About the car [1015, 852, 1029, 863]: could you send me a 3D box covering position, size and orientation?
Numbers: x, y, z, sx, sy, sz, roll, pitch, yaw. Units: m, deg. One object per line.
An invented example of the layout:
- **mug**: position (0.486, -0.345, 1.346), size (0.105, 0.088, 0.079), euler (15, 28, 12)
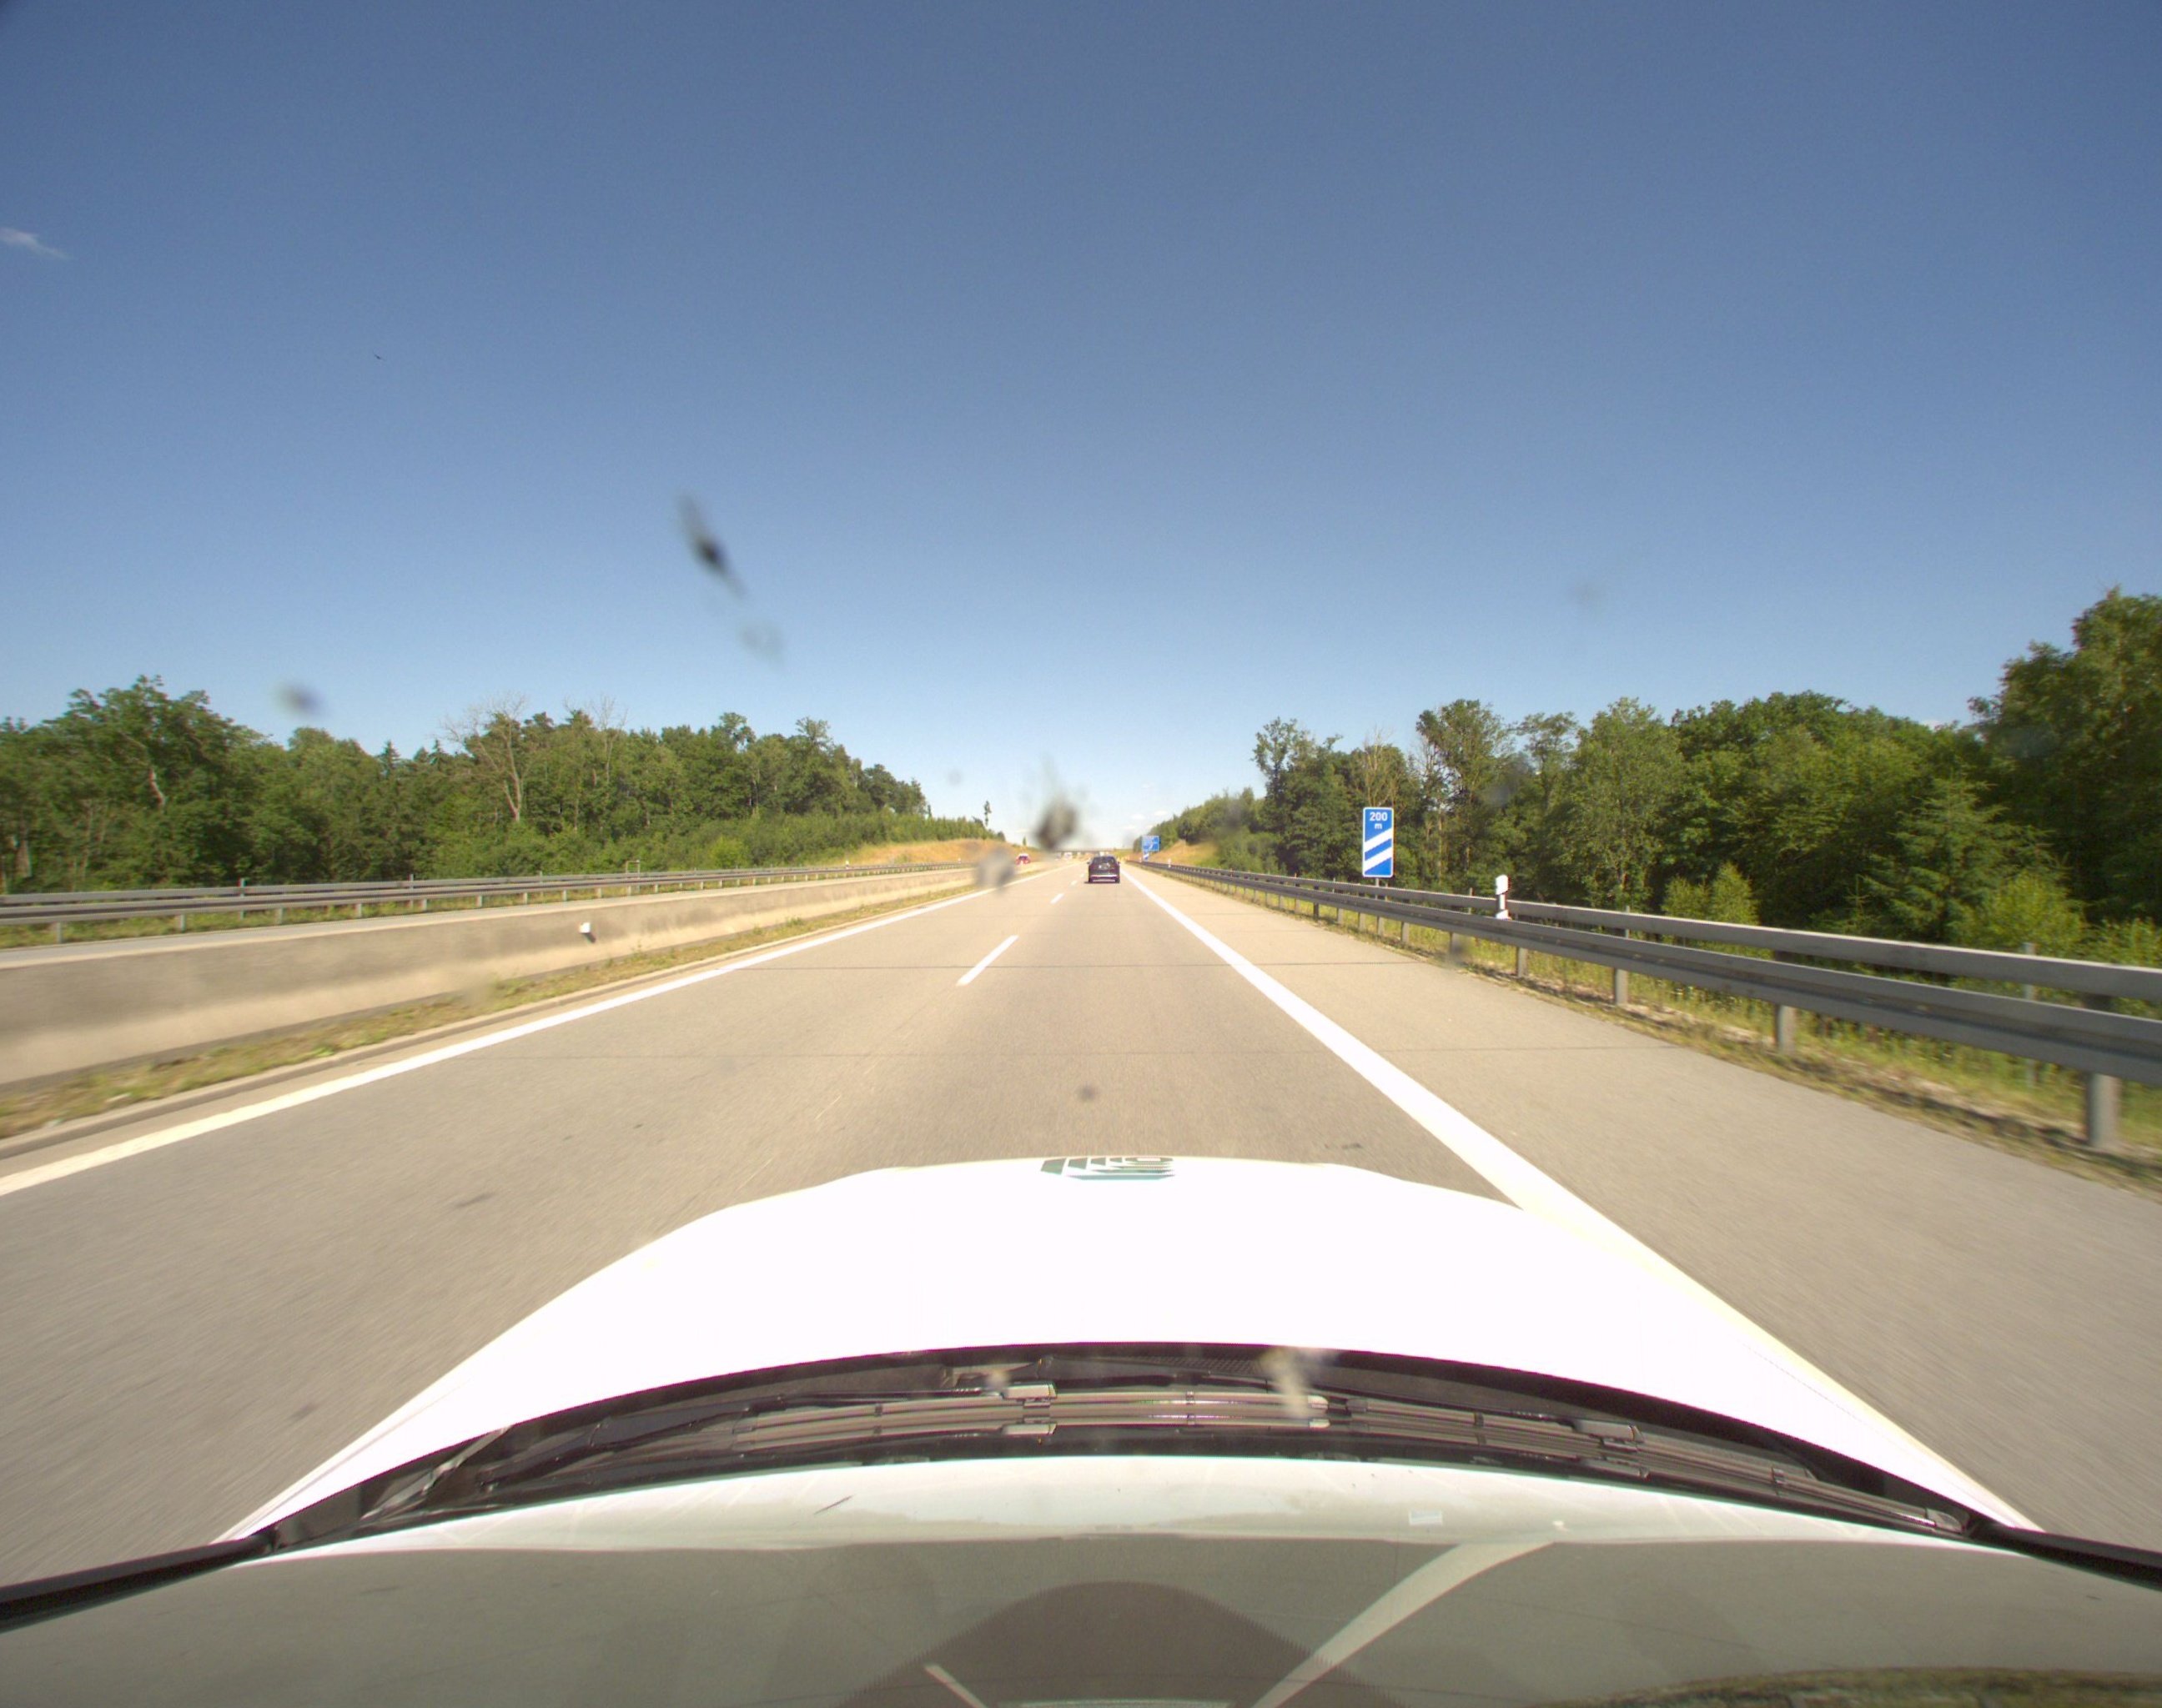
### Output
- **car**: position (-8.915, 0.577, 123.251), size (1.660, 1.644, 4.891), euler (0, 0, 2)

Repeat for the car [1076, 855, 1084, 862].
- **car**: position (-0.189, 1.168, 212.715), size (1.986, 1.581, 4.651), euler (0, 0, 2)

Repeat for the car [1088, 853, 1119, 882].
- **car**: position (1.330, 0.735, 47.851), size (1.715, 1.587, 5.224), euler (0, 0, 2)

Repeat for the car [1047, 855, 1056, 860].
- **car**: position (-8.251, 0.973, 227.079), size (1.986, 1.581, 4.651), euler (0, 0, 2)
